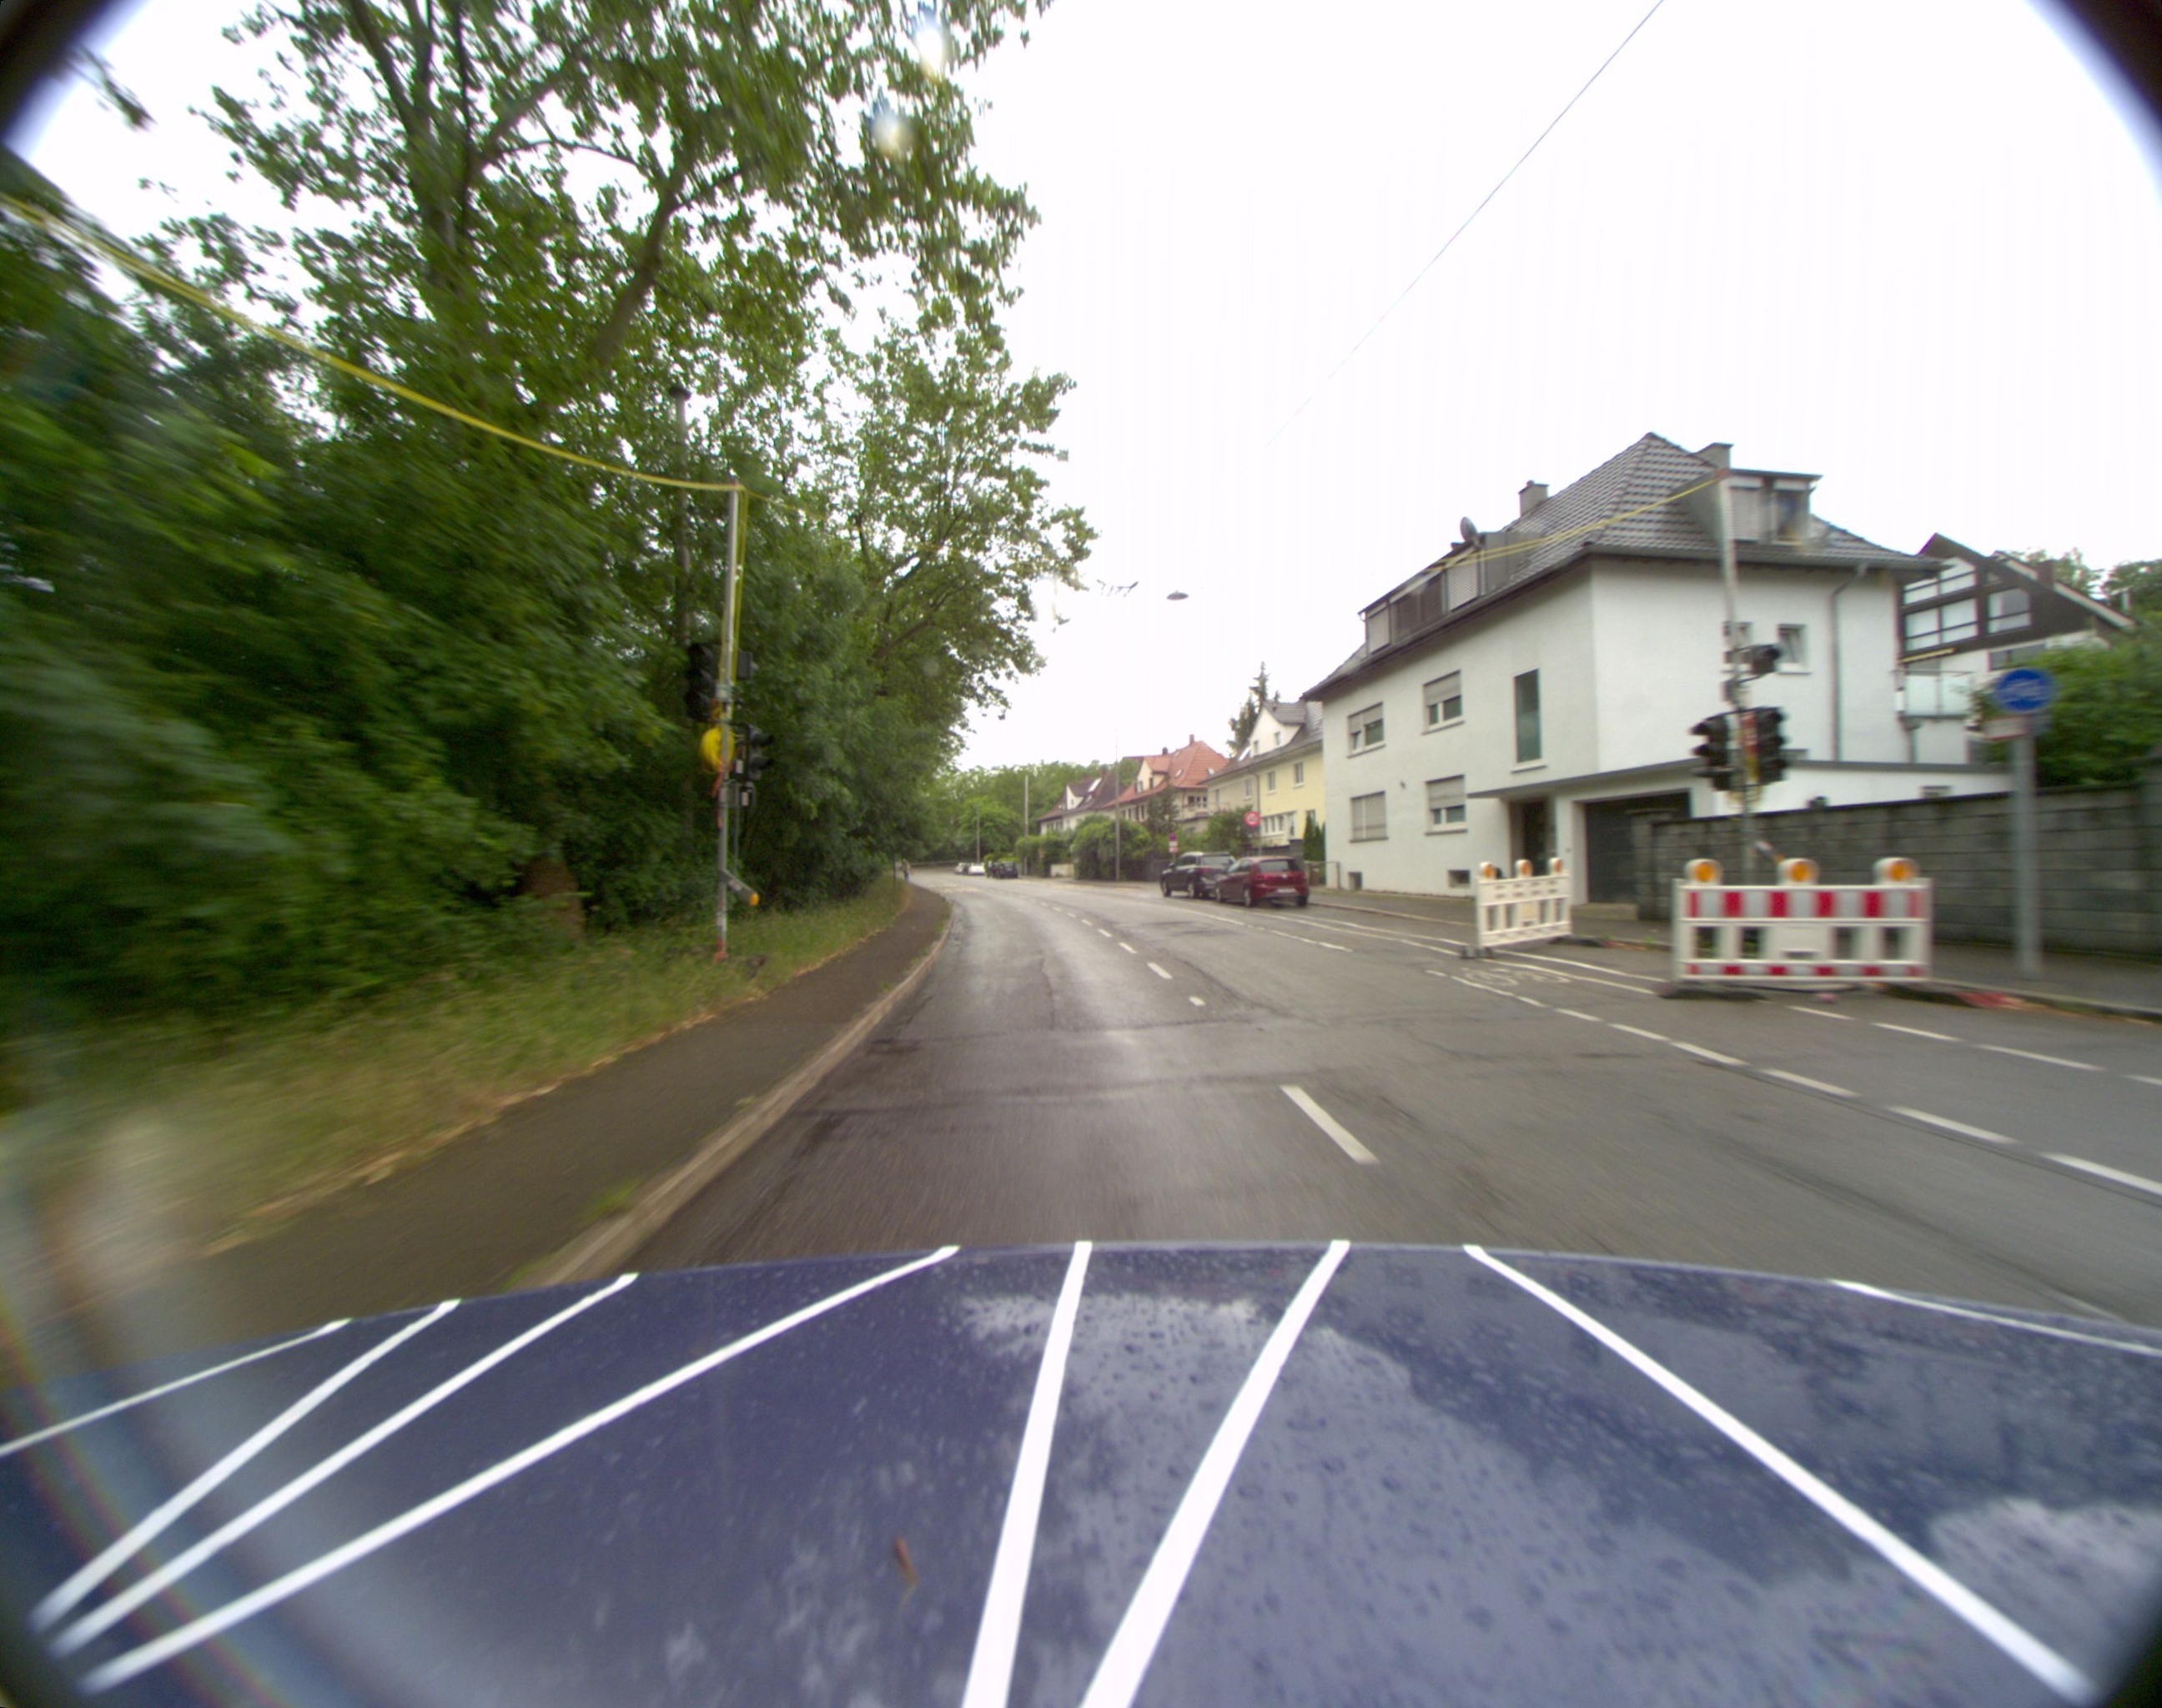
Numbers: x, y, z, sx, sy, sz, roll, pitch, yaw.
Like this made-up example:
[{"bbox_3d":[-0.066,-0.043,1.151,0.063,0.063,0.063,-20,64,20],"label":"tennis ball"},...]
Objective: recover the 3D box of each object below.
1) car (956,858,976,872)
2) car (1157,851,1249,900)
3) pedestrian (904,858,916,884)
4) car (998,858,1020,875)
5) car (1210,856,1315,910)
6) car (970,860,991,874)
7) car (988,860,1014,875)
[{"bbox_3d":[-14.688,1.422,97.152,1.739,1.414,4.275,-6,3,-18],"label":"car"},{"bbox_3d":[4.396,0.763,28.016,1.761,1.648,4.400,0,-1,-14],"label":"car"},{"bbox_3d":[-10.954,1.084,48.614,0.644,1.602,0.669,-1,2,-17],"label":"pedestrian"},{"bbox_3d":[-6.515,1.142,68.795,1.525,1.445,3.026,0,-1,-15],"label":"car"},{"bbox_3d":[5.325,0.821,22.896,1.621,1.432,4.227,-2,-1,-8],"label":"car"},{"bbox_3d":[-11.612,1.458,87.514,1.705,1.459,3.705,-1,0,-17],"label":"car"},{"bbox_3d":[-7.723,1.325,73.025,1.695,1.409,4.209,0,-1,-18],"label":"car"}]
